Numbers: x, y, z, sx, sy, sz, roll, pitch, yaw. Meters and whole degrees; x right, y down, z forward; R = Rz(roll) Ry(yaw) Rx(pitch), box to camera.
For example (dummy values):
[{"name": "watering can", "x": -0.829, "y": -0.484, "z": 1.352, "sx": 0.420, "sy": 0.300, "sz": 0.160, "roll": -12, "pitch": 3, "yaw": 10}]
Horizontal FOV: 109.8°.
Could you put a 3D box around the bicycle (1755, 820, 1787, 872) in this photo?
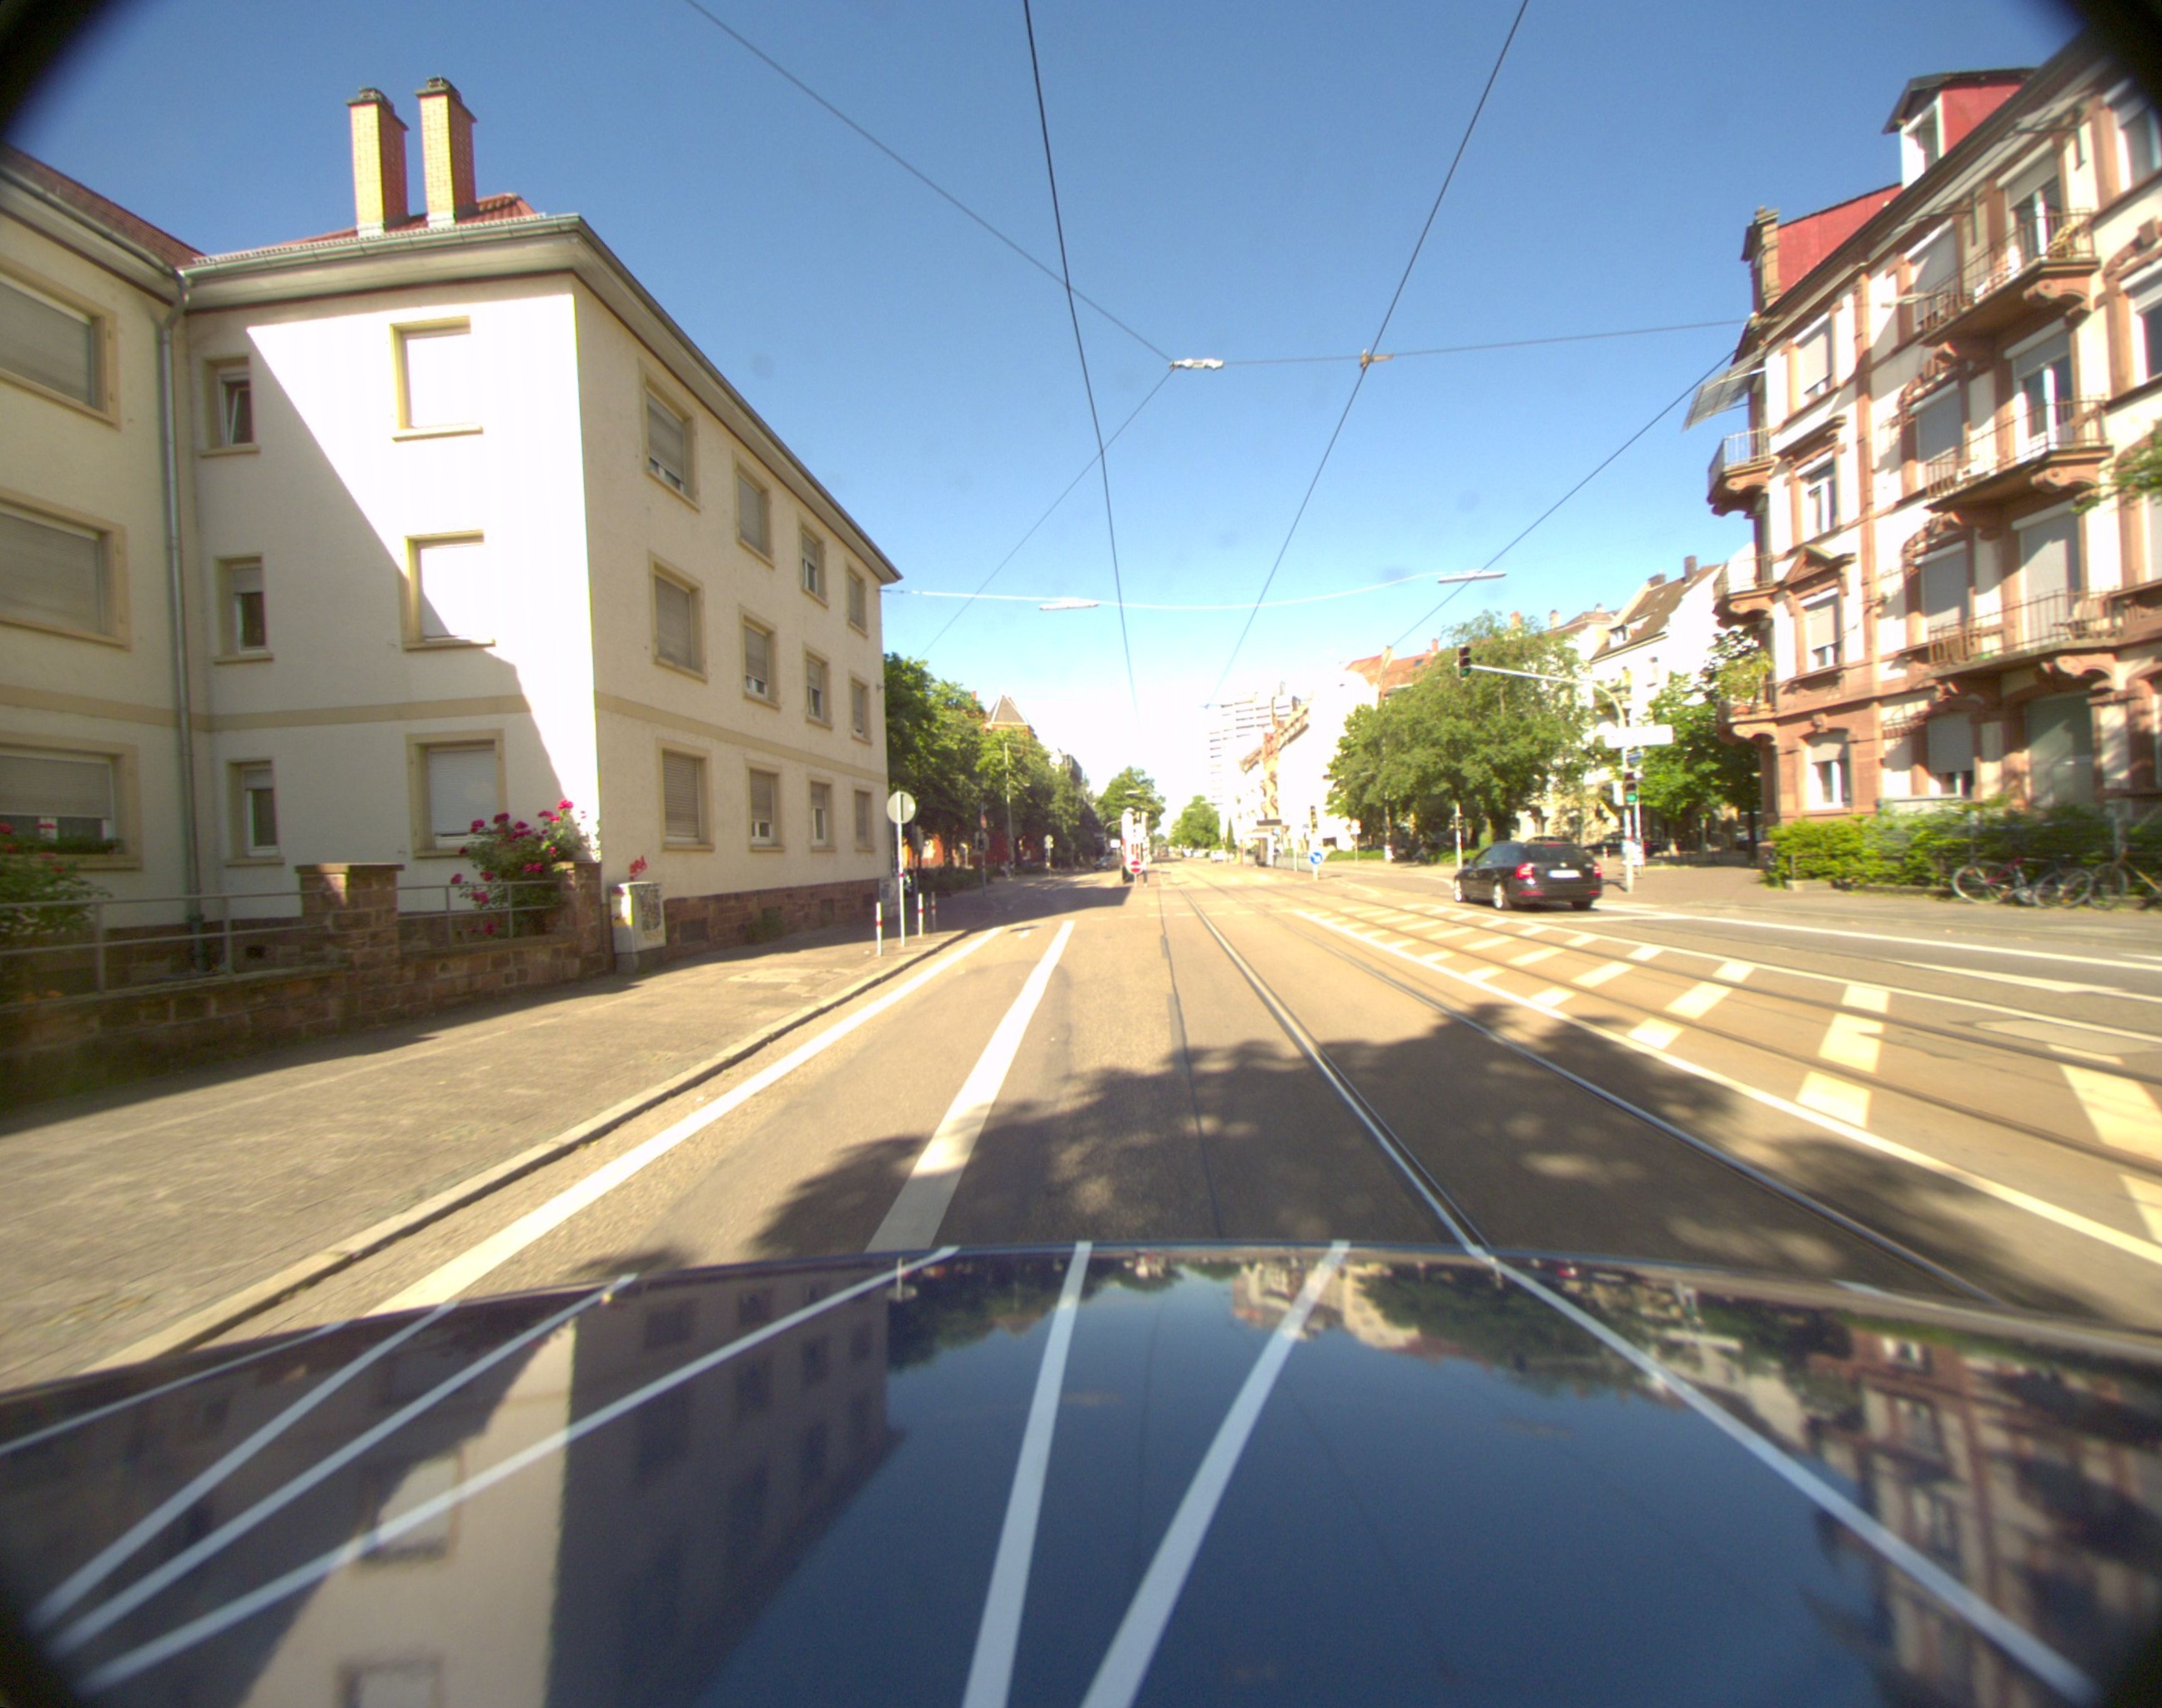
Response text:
[{"name": "bicycle", "x": 18.945, "y": -0.235, "z": 20.852, "sx": 2.049, "sy": 1.288, "sz": 0.419, "roll": -6, "pitch": 1, "yaw": -43}]

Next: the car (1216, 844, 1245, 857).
[{"name": "car", "x": 22.136, "y": -0.524, "z": 112.716, "sx": 3.884, "sy": 1.581, "sz": 1.816, "roll": -5, "pitch": 5, "yaw": 1}]

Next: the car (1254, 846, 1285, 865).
[{"name": "car", "x": 16.761, "y": 0.099, "z": 67.705, "sx": 1.901, "sy": 1.609, "sz": 4.265, "roll": -2, "pitch": 1, "yaw": 4}]

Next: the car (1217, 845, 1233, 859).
[{"name": "car", "x": 18.049, "y": -0.281, "z": 95.471, "sx": 1.693, "sy": 1.531, "sz": 3.800, "roll": -5, "pitch": 0, "yaw": 9}]

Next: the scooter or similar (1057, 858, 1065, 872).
[{"name": "scooter or similar", "x": -1.937, "y": 1.067, "z": 73.790, "sx": 0.519, "sy": 1.241, "sz": 1.277, "roll": -4, "pitch": -1, "yaw": 6}]

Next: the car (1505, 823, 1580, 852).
[{"name": "car", "x": 32.184, "y": -1.140, "z": 53.097, "sx": 4.023, "sy": 1.687, "sz": 1.691, "roll": -5, "pitch": 1, "yaw": 13}]

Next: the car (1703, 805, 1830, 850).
[{"name": "car", "x": 37.112, "y": -1.422, "z": 41.331, "sx": 4.846, "sy": 1.931, "sz": 1.928, "roll": -5, "pitch": 1, "yaw": 34}]

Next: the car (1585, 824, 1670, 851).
[{"name": "car", "x": 33.930, "y": -1.013, "z": 47.258, "sx": 1.741, "sy": 1.533, "sz": 4.010, "roll": -2, "pitch": 1, "yaw": -19}]

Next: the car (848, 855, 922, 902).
[{"name": "car", "x": -9.936, "y": 1.274, "z": 38.255, "sx": 1.690, "sy": 2.080, "sz": 4.747, "roll": -6, "pitch": 1, "yaw": -37}]

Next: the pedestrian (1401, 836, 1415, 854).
[{"name": "pedestrian", "x": 24.364, "y": -0.641, "z": 56.581, "sx": 0.658, "sy": 1.274, "sz": 0.724, "roll": -5, "pitch": 1, "yaw": 6}]

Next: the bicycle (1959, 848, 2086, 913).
[{"name": "bicycle", "x": 14.689, "y": 0.384, "z": 11.906, "sx": 0.342, "sy": 0.920, "sz": 1.453, "roll": -5, "pitch": 1, "yaw": 10}]

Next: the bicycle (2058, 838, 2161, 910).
[{"name": "bicycle", "x": 14.426, "y": 0.264, "z": 10.203, "sx": 0.342, "sy": 0.920, "sz": 1.944, "roll": -5, "pitch": 0, "yaw": 10}]

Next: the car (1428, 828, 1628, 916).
[{"name": "car", "x": 9.651, "y": 0.311, "z": 16.971, "sx": 1.836, "sy": 1.509, "sz": 4.968, "roll": -6, "pitch": 0, "yaw": 6}]

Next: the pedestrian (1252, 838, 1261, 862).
[{"name": "pedestrian", "x": 13.419, "y": -0.282, "z": 57.967, "sx": 0.466, "sy": 1.774, "sz": 0.673, "roll": -3, "pitch": 1, "yaw": 4}]
